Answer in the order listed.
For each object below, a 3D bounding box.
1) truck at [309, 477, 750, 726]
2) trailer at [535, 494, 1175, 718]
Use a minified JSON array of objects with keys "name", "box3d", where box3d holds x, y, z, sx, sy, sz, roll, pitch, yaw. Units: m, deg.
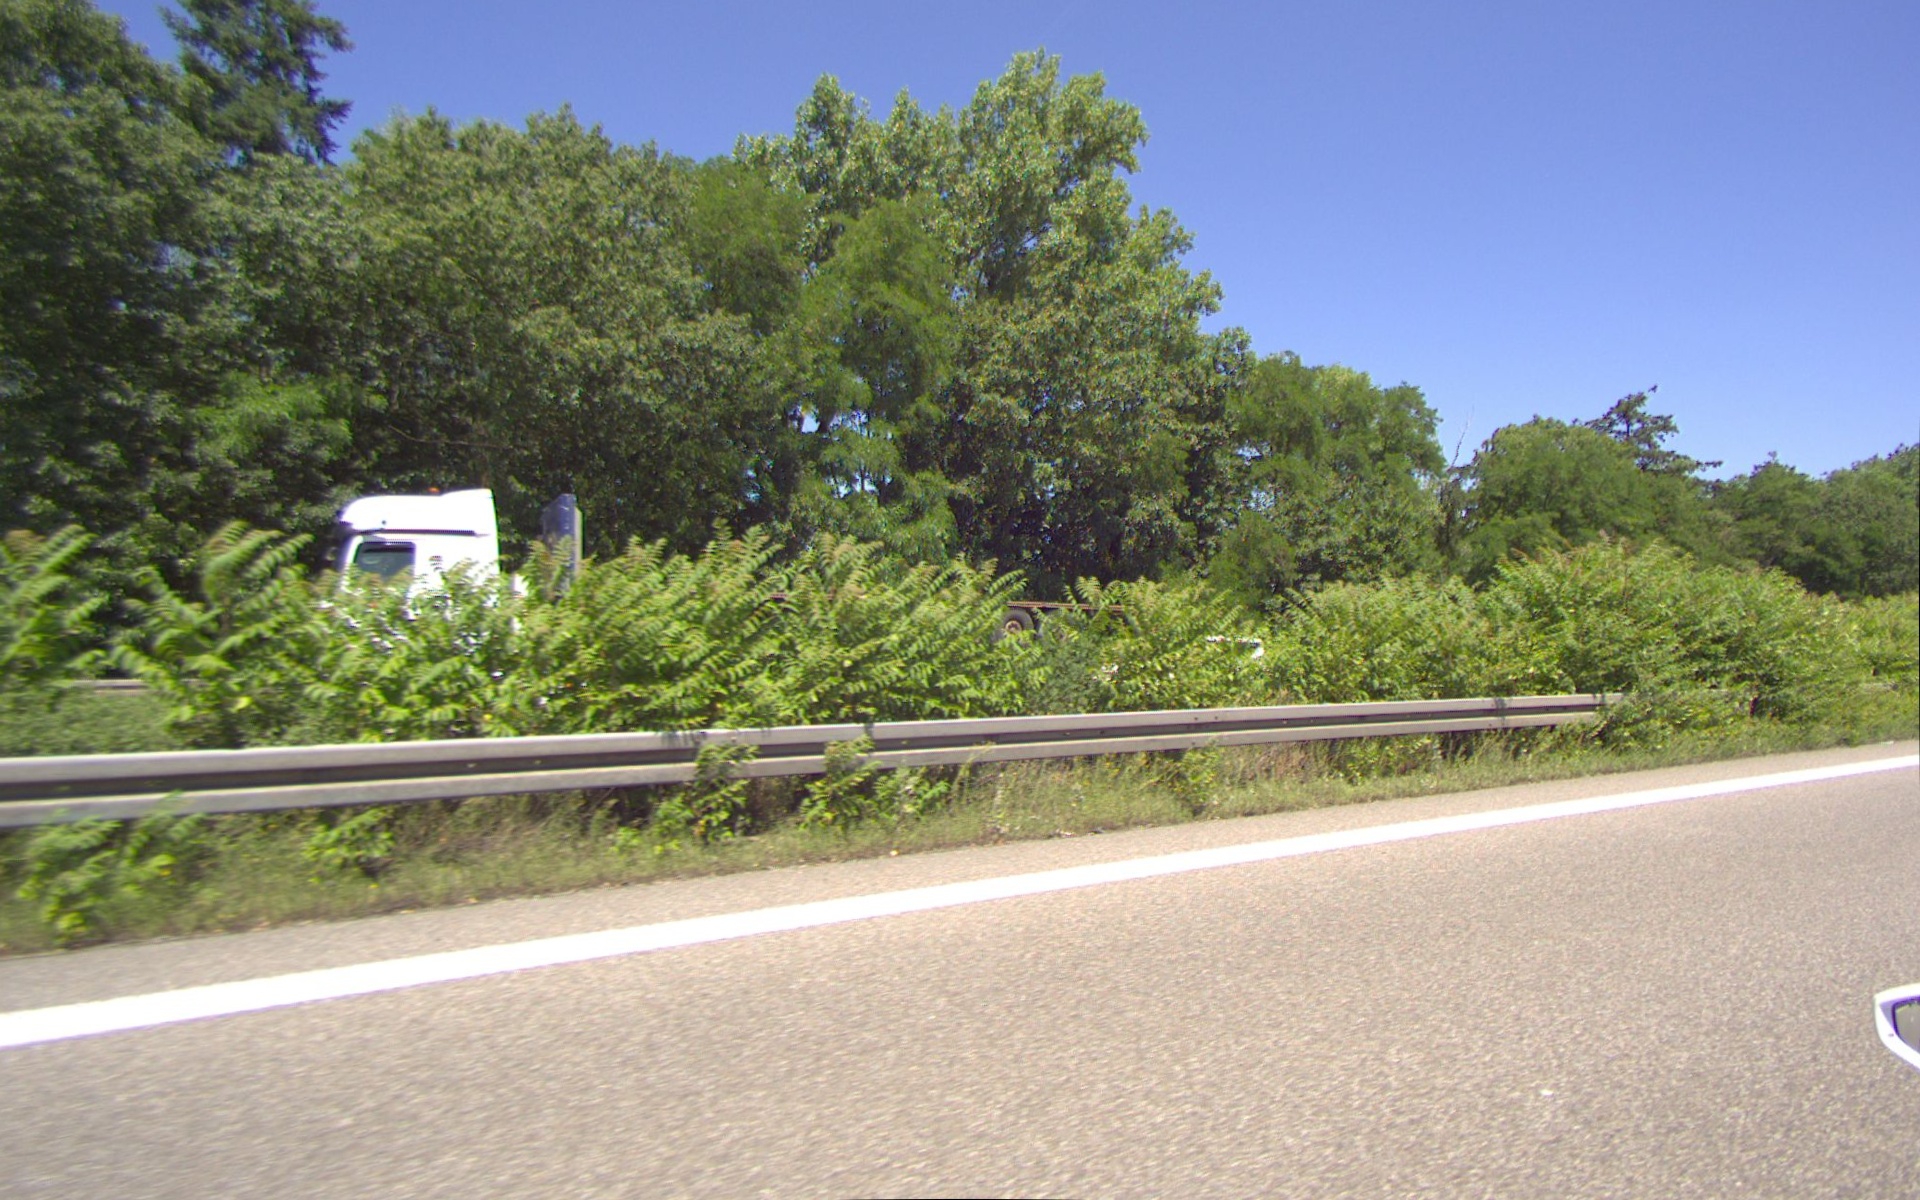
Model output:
[{"name":"truck","box3d":[-7.456,0.084,17.945,6.744,3.755,2.579,1,0,-29]},{"name":"trailer","box3d":[-1.545,0.234,21.267,13.521,3.755,2.579,1,0,-29]}]
